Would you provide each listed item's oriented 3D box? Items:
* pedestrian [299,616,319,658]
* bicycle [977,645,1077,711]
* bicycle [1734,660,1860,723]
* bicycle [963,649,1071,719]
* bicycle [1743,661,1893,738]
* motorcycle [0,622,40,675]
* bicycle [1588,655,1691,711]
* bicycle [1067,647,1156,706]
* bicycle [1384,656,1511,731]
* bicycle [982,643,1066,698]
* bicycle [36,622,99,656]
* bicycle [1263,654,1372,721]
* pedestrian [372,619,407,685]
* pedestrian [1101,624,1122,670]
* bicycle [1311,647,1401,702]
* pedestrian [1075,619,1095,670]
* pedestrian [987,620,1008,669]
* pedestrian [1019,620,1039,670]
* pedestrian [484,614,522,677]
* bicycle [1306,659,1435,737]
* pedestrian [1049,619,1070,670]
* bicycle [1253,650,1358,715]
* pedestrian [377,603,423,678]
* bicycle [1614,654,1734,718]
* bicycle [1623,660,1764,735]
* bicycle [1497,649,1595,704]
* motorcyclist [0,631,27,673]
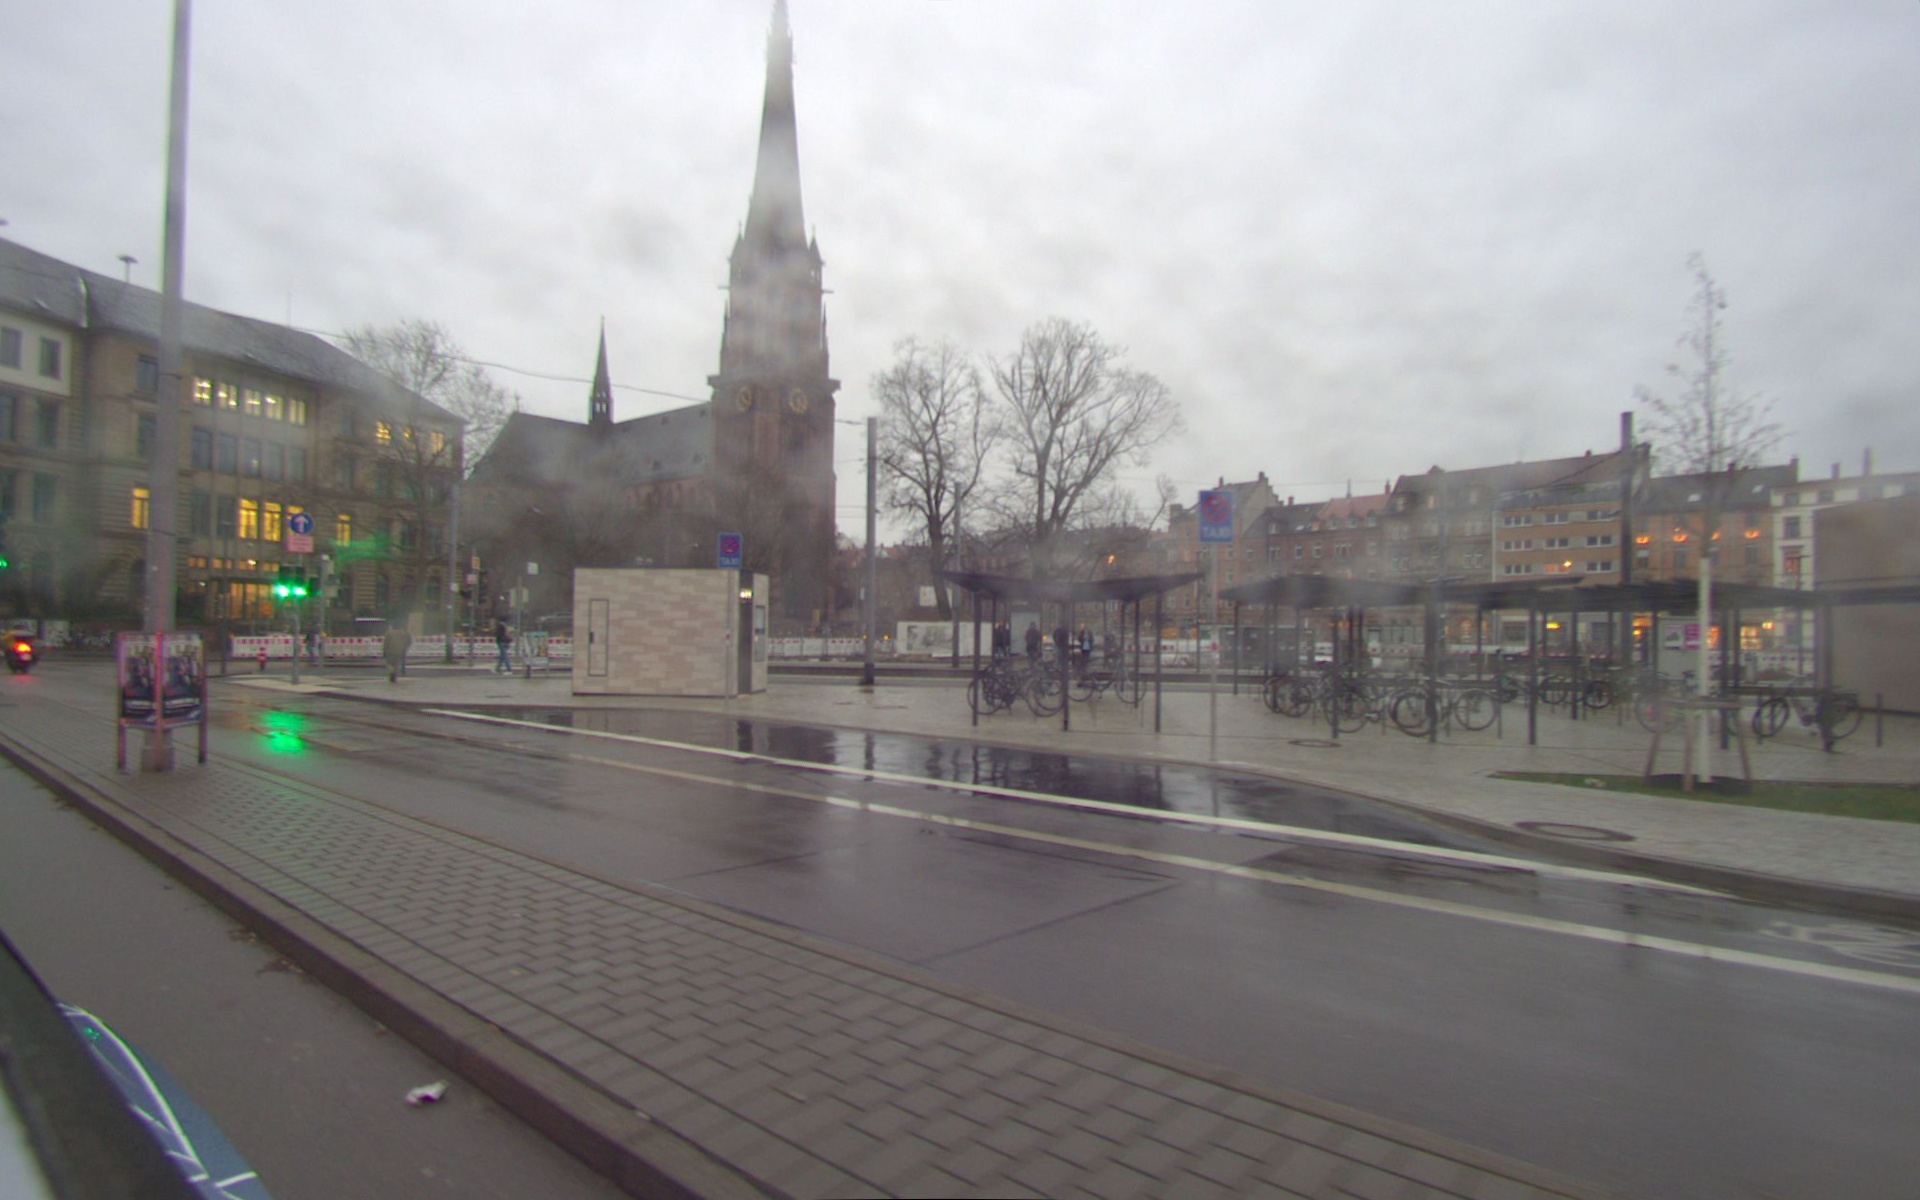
[{"bbox_3d":[-32.670,1.850,50.819,0.729,2.029,0.647,1,0,-21],"label":"pedestrian"},{"bbox_3d":[1.305,1.505,19.716,1.879,1.174,0.548,1,0,12],"label":"bicycle"},{"bbox_3d":[16.835,1.829,20.390,1.879,1.174,0.548,1,0,12],"label":"bicycle"},{"bbox_3d":[1.054,1.533,18.592,1.922,1.174,0.548,1,0,12],"label":"bicycle"},{"bbox_3d":[14.150,1.628,16.722,1.875,1.174,0.549,1,0,6],"label":"bicycle"},{"bbox_3d":[-27.823,1.405,29.734,2.312,1.509,0.821,-1,-3,40],"label":"motorcycle"},{"bbox_3d":[15.508,1.879,23.131,1.879,1.174,0.548,1,0,12],"label":"bicycle"},{"bbox_3d":[3.295,1.647,22.024,1.879,1.174,0.548,1,0,12],"label":"bicycle"},{"bbox_3d":[8.390,1.603,17.473,1.879,1.174,0.548,1,0,12],"label":"bicycle"},{"bbox_3d":[1.487,1.616,23.428,1.879,1.174,0.548,1,0,12],"label":"bicycle"},{"bbox_3d":[-46.928,2.054,53.223,2.388,1.701,0.715,0,0,-33],"label":"bicycle"},{"bbox_3d":[6.813,1.665,19.354,1.879,1.174,0.548,1,0,12],"label":"bicycle"},{"bbox_3d":[-15.107,1.368,26.815,0.663,1.686,0.732,1,0,-17],"label":"pedestrian"},{"bbox_3d":[5.510,1.717,36.850,0.709,1.630,0.713,1,-1,7],"label":"pedestrian"},{"bbox_3d":[9.260,1.730,23.707,1.879,1.174,0.548,1,0,12],"label":"bicycle"},{"bbox_3d":[4.535,1.595,36.782,0.709,1.820,0.713,1,-1,7],"label":"pedestrian"},{"bbox_3d":[1.376,1.615,37.214,0.709,1.770,0.713,1,-1,7],"label":"pedestrian"},{"bbox_3d":[2.531,1.637,37.090,0.709,1.820,0.713,1,-1,7],"label":"pedestrian"},{"bbox_3d":[-13.735,1.359,30.446,0.821,1.827,0.599,-2,1,28],"label":"pedestrian"},{"bbox_3d":[6.743,1.595,16.701,1.879,1.174,0.548,1,0,12],"label":"bicycle"},{"bbox_3d":[3.622,1.595,36.848,0.709,1.820,0.713,1,-1,7],"label":"pedestrian"},{"bbox_3d":[6.826,1.623,20.064,1.879,1.174,0.548,1,0,12],"label":"bicycle"},{"bbox_3d":[-18.346,1.301,33.157,1.062,2.388,0.984,1,0,37],"label":"pedestrian"},{"bbox_3d":[14.324,1.717,20.329,1.879,1.174,0.548,1,0,12],"label":"bicycle"},{"bbox_3d":[12.593,1.657,17.427,1.879,1.174,0.548,1,0,12],"label":"bicycle"},{"bbox_3d":[13.613,1.775,23.538,1.879,1.174,0.548,1,0,12],"label":"bicycle"},{"bbox_3d":[-27.811,1.521,29.733,0.610,1.202,0.530,1,1,40],"label":"motorcyclist"}]
